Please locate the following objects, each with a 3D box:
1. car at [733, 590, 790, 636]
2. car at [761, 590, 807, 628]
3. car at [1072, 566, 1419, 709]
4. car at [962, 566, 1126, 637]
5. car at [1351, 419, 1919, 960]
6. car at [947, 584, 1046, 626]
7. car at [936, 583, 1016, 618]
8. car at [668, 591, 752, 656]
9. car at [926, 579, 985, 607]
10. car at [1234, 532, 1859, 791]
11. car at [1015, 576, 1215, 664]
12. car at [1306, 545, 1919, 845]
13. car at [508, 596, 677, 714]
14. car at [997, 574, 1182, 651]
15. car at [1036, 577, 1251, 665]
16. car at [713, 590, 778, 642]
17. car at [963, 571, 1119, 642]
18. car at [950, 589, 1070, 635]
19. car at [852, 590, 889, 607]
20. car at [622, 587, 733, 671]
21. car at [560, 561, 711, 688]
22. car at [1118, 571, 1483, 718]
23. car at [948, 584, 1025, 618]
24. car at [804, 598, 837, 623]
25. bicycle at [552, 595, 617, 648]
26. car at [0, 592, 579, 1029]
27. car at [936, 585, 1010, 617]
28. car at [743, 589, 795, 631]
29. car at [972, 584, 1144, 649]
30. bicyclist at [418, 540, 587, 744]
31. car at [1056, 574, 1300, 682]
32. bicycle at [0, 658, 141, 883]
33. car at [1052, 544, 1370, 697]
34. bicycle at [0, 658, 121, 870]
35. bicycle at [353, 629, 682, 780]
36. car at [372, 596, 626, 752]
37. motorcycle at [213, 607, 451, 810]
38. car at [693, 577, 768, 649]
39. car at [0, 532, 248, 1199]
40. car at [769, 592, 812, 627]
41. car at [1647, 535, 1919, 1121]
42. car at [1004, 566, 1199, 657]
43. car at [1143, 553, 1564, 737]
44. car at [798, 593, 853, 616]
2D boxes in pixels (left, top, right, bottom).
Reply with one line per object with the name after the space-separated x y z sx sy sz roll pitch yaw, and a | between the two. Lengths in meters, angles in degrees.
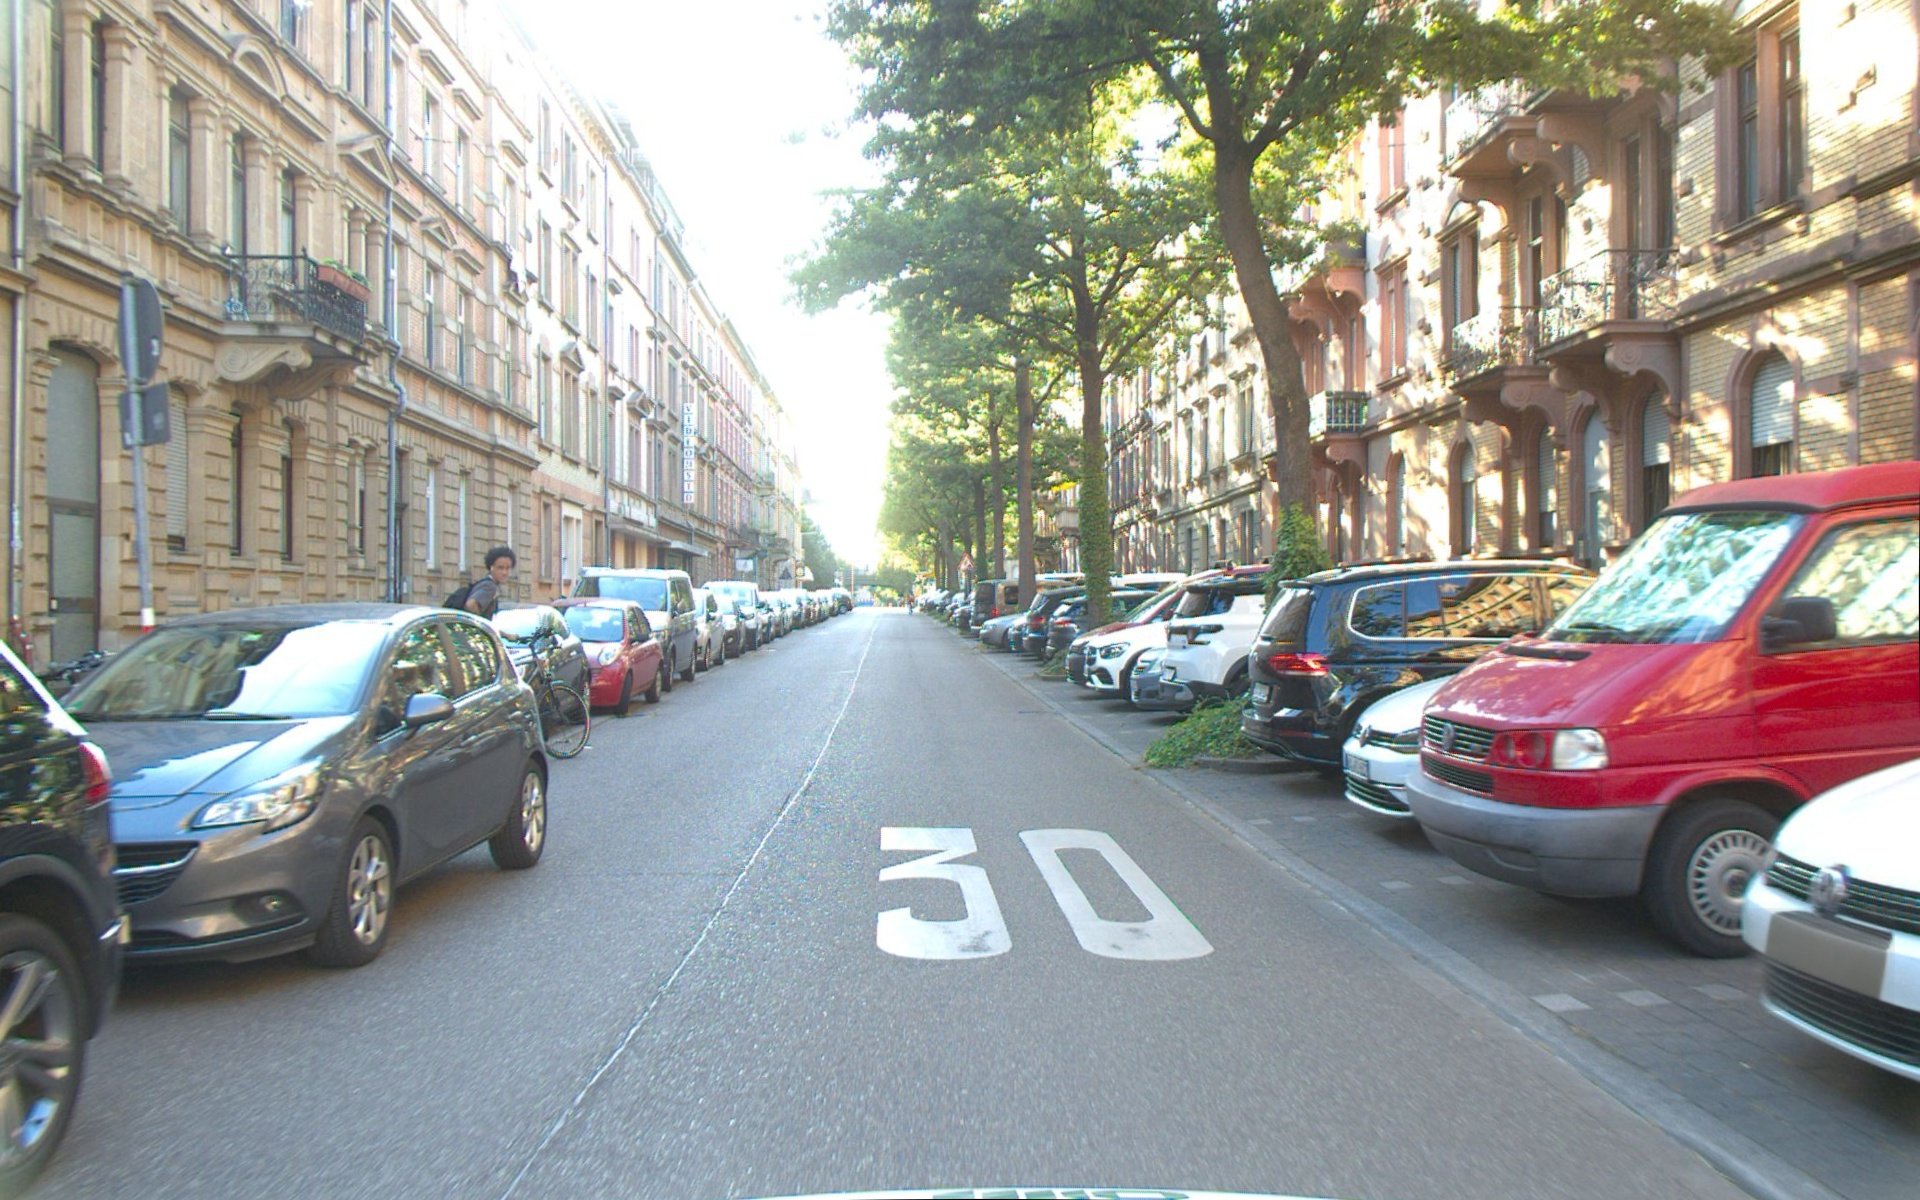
-6.836 0.422 57.376 1.724 1.498 4.056 -1 0 -4 | car
-7.264 0.352 68.484 1.724 1.498 4.056 -1 0 -4 | car
3.776 0.463 22.365 4.258 1.583 1.849 -4 1 -4 | car
2.611 0.045 52.152 4.956 1.959 1.834 -3 0 -3 | car
4.388 0.280 7.678 4.585 2.069 1.876 -3 0 -6 | car
1.471 0.198 67.299 3.776 1.505 1.716 -3 0 -6 | car
0.823 0.033 84.573 3.781 1.601 1.713 -3 0 -11 | car
-6.192 0.551 41.275 1.724 1.493 3.997 1 0 -4 | car
-0.326 -0.466 109.329 3.774 1.601 1.717 -3 0 -4 | car
4.329 0.440 12.708 4.101 1.656 1.837 -3 0 0 | car
3.224 0.413 34.886 3.931 1.635 1.733 -3 0 -3 | car
4.666 0.499 10.268 4.580 1.540 1.878 -3 0 -1 | car
-5.094 0.715 23.367 1.560 1.501 3.699 1 0 -1 | car
3.143 0.292 40.420 4.145 1.639 1.831 -3 0 -10 | car
3.557 0.409 32.496 3.931 1.493 1.733 -3 0 -3 | car
-6.598 0.459 51.281 1.724 1.498 4.056 -1 0 -4 | car
2.368 0.174 48.401 4.163 1.826 1.823 -3 0 -22 | car
1.643 0.382 54.966 3.776 1.316 1.716 -3 0 -6 | car
-10.005 -0.203 185.052 3.902 1.891 1.752 0 0 5 | car
-5.886 0.564 34.857 1.718 1.636 4.382 1 0 -2 | car
-5.551 0.378 28.942 1.795 1.977 5.257 1 0 -3 | car
4.033 0.513 20.004 3.931 1.459 1.793 -3 0 -3 | car
1.388 0.047 87.008 3.781 1.601 1.713 -3 0 -11 | car
-8.927 0.688 105.839 1.954 1.512 3.997 -1 -2 -3 | car
-9.921 0.538 43.886 1.021 1.341 3.997 0 0 -3 | bicycle
-3.200 0.750 7.932 1.722 1.527 4.060 -2 0 1 | car
0.729 0.043 91.624 3.781 1.601 1.713 -3 0 -11 | car
-7.142 0.357 62.233 1.724 1.498 4.056 -1 0 -4 | car
2.497 0.410 42.765 4.141 1.428 1.832 -3 0 -8 | car
-4.323 0.367 15.639 1.197 1.821 0.984 -2 1 -42 | bicyclist
3.574 0.425 27.430 3.591 1.480 1.846 -4 1 -9 | car
-5.449 0.891 8.851 1.830 1.148 0.528 1 -1 -3 | bicycle
3.717 0.270 24.928 4.358 1.957 1.848 -4 1 -5 | car
-5.824 0.908 9.373 1.830 1.148 0.528 1 -1 -3 | bicycle
-4.157 0.936 15.761 2.899 1.178 0.983 -2 1 -43 | bicycle
-5.087 0.743 18.813 1.722 1.527 4.059 -2 0 0 | car
-4.802 0.764 12.897 1.045 1.394 2.604 0 0 -5 | motorcycle
-6.368 0.339 46.237 1.724 1.874 4.526 -1 0 -4 | car
-3.168 0.681 2.890 1.722 1.628 4.551 -2 0 2 | car
-7.483 0.400 73.242 1.724 1.498 4.056 -1 0 -4 | car
4.449 0.509 4.926 3.973 1.536 1.878 -3 0 -3 | car
3.182 0.243 37.715 4.138 1.807 1.834 -3 0 -4 | car
4.080 0.452 17.552 3.932 1.656 1.803 -3 0 -4 | car
-9.423 0.344 116.052 1.956 1.512 3.992 -2 -2 29 | car
